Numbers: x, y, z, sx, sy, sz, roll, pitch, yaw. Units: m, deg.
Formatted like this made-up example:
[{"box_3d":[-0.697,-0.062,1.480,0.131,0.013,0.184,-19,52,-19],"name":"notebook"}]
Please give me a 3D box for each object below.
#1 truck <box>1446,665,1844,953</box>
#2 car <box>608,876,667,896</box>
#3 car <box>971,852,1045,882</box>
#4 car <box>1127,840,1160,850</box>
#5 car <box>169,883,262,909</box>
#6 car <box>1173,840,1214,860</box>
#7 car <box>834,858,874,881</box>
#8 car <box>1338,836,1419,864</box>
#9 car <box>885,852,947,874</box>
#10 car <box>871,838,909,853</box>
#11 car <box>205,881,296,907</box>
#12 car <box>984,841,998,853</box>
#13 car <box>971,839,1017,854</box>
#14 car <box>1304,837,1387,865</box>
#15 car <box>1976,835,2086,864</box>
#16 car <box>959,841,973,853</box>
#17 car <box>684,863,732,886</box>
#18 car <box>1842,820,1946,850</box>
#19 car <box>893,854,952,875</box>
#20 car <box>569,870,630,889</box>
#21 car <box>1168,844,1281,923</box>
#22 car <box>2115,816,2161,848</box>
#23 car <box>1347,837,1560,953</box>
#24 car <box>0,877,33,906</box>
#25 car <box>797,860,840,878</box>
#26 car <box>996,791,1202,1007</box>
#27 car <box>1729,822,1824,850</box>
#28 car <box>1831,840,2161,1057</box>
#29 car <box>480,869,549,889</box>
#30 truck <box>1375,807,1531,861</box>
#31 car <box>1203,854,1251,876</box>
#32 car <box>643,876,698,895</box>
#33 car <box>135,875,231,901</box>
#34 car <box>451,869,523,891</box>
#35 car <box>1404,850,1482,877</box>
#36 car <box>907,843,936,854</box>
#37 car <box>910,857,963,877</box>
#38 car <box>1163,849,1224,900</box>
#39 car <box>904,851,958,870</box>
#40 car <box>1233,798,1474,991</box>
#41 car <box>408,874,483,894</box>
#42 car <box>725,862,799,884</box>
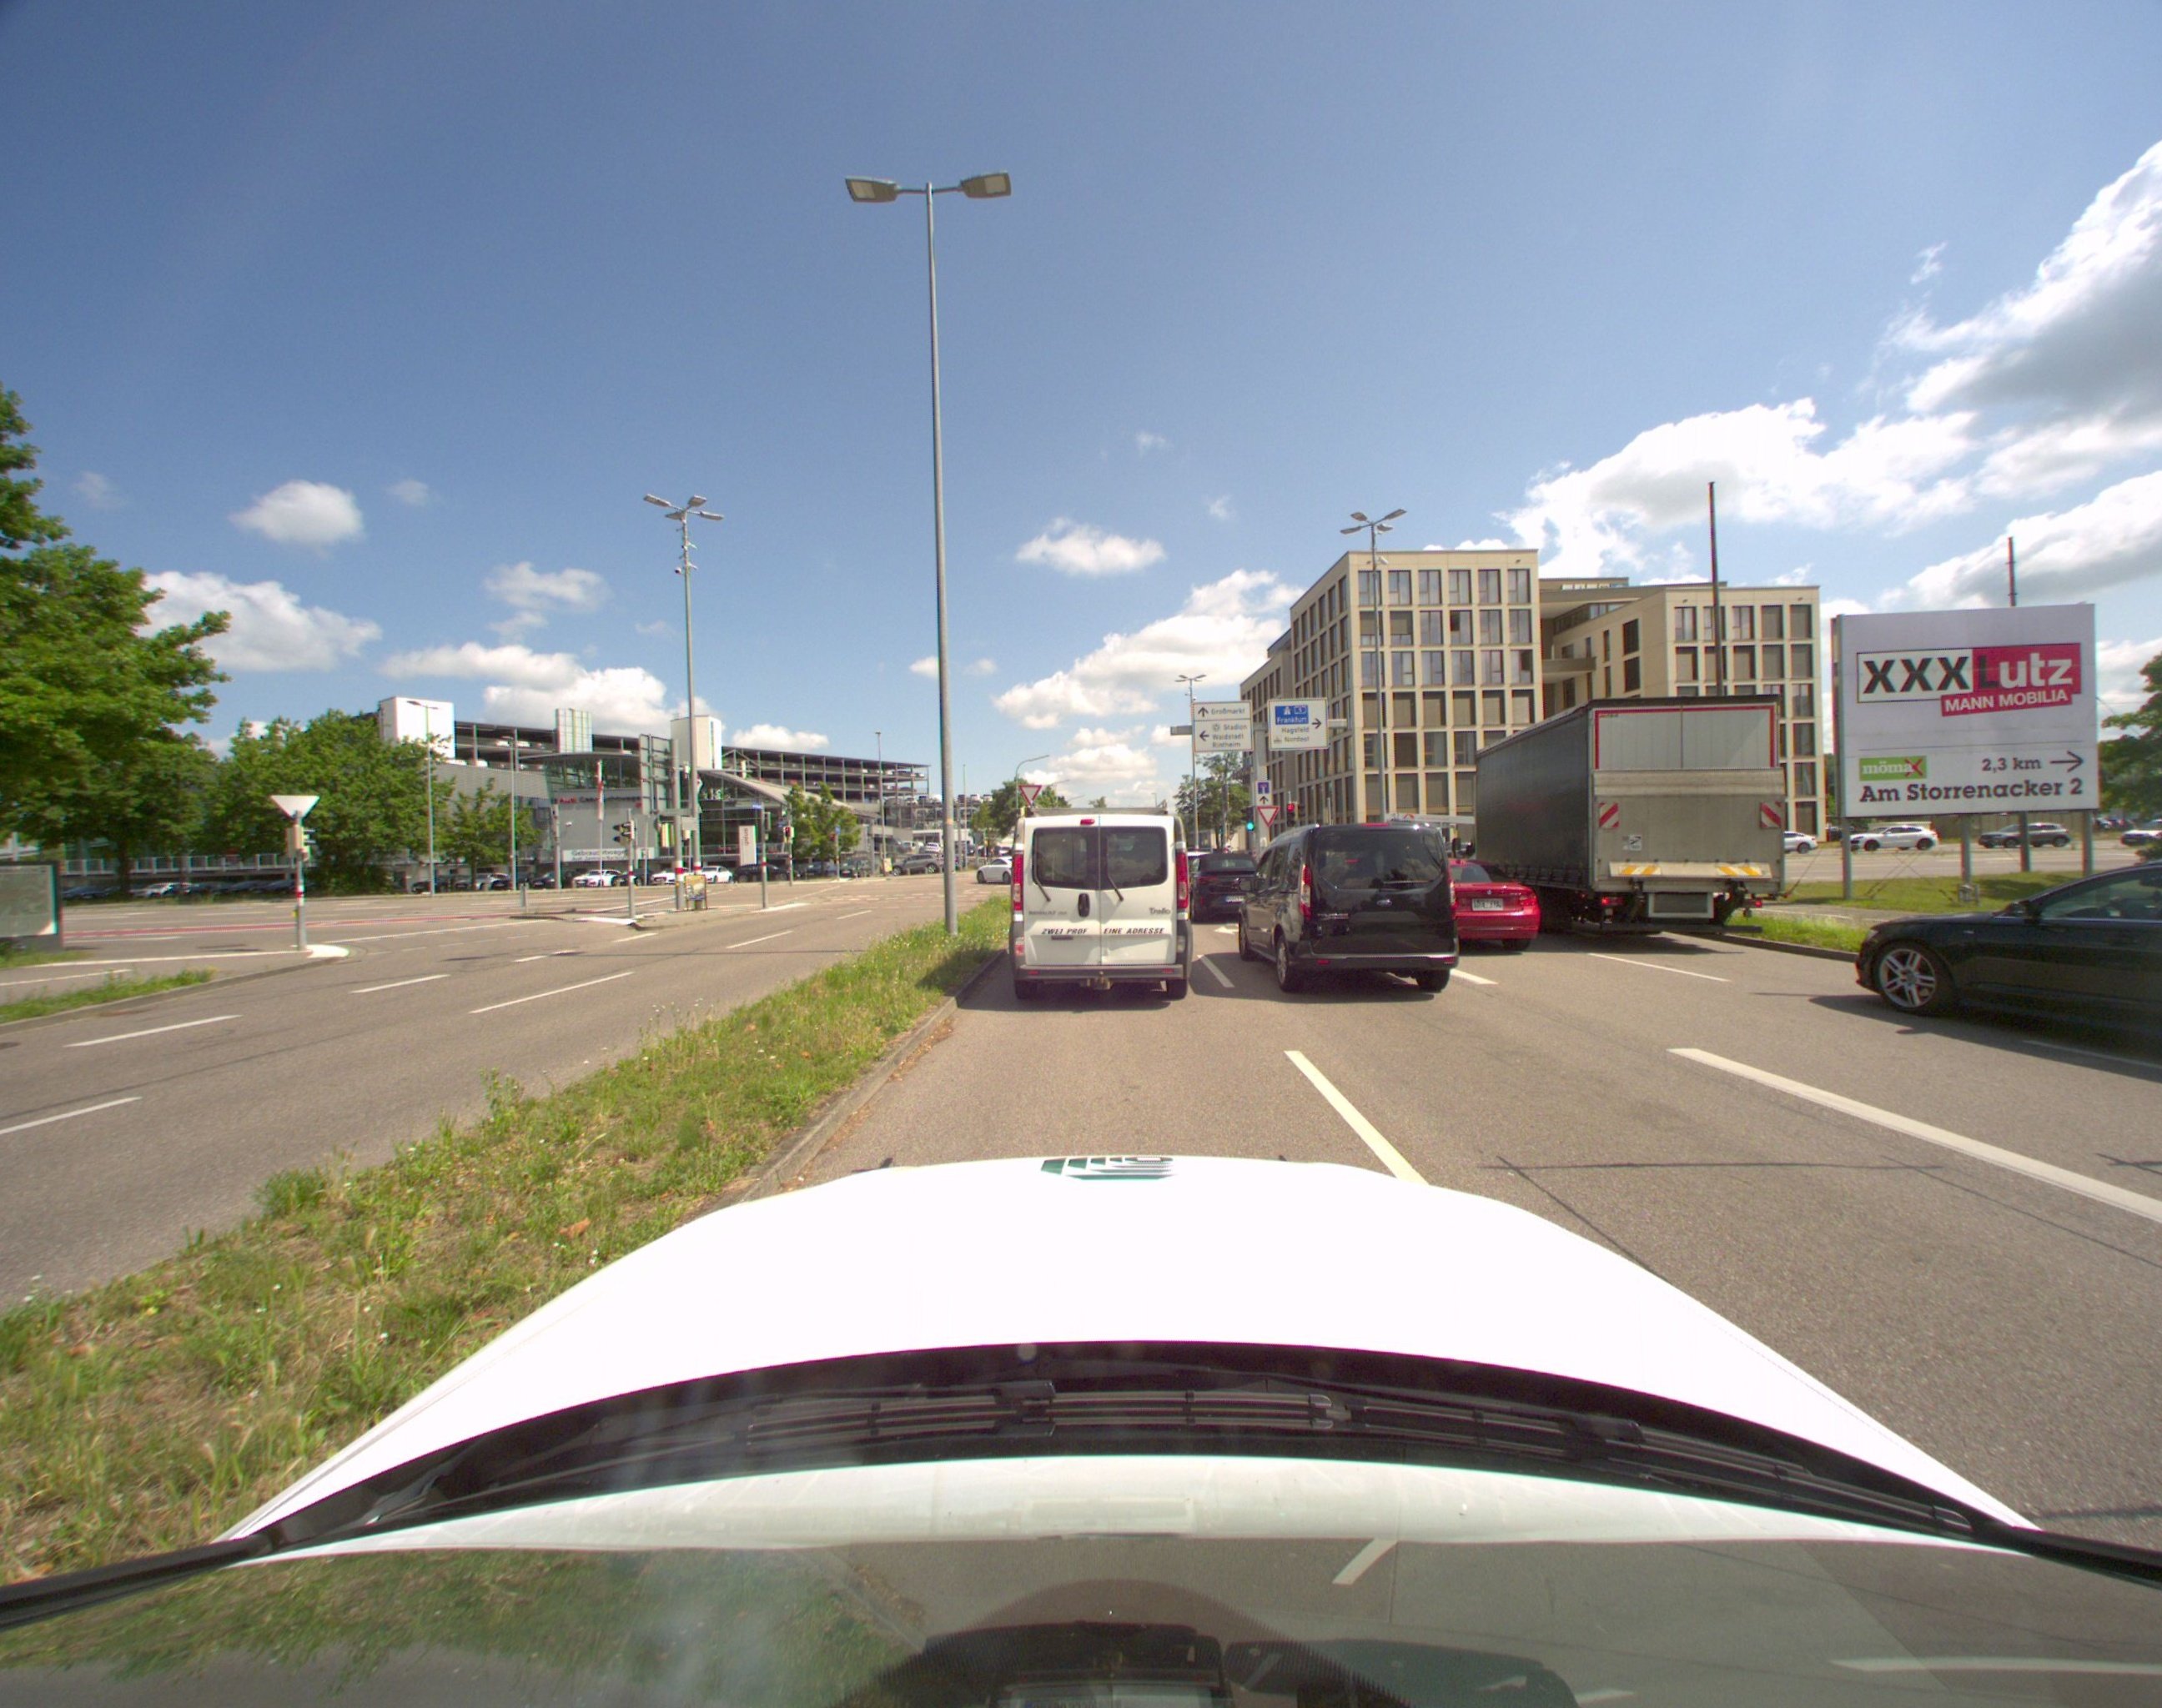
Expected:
[{"box_3d":[10.012,-0.579,16.149,3.191,4.027,9.100,-1,-1,12],"name":"truck"},{"box_3d":[-32.132,2.328,59.187,1.896,1.297,4.585,0,-1,-3],"name":"car"},{"box_3d":[-3.731,0.661,41.117,1.870,1.442,3.954,0,-1,-39],"name":"car"},{"box_3d":[12.435,-1.827,162.693,6.321,2.014,2.572,0,-1,-1],"name":"car"},{"box_3d":[-61.796,2.964,58.272,1.896,1.678,4.585,0,-1,-3],"name":"car"},{"box_3d":[11.834,-0.437,85.767,3.982,2.014,1.995,0,-1,-7],"name":"car"},{"box_3d":[-16.788,1.136,60.439,1.896,1.678,4.585,0,-1,-3],"name":"car"},{"box_3d":[17.736,-0.224,48.588,4.192,1.627,1.824,0,-1,-6],"name":"car"},{"box_3d":[-13.104,0.728,64.955,4.562,1.678,1.906,0,-1,-2],"name":"car"},{"box_3d":[-24.464,-1.057,104.251,4.432,1.801,1.762,0,-1,-4],"name":"car"},{"box_3d":[-59.801,2.864,58.762,1.896,1.678,4.585,0,-1,-3],"name":"car"},{"box_3d":[-12.041,-0.958,108.932,1.557,1.552,3.598,-1,0,-3],"name":"car"},{"box_3d":[-12.422,-1.075,116.355,6.373,2.102,1.763,0,-1,-4],"name":"car"},{"box_3d":[17.892,-0.203,55.159,4.969,1.838,1.996,0,-1,-6],"name":"car"},{"box_3d":[61.574,-0.280,52.859,4.401,1.838,1.834,-1,-1,12],"name":"car"},{"box_3d":[-15.389,-0.900,109.455,1.557,1.552,3.598,0,-1,-3],"name":"car"},{"box_3d":[-27.235,1.527,59.560,1.786,1.464,3.995,-2,-3,-3],"name":"car"},{"box_3d":[54.090,-1.234,54.263,4.667,1.838,1.834,-1,-1,12],"name":"car"},{"box_3d":[-13.070,0.860,67.336,4.562,1.678,1.906,0,-1,-2],"name":"car"},{"box_3d":[-34.988,1.812,59.307,1.896,1.297,4.585,0,-1,-3],"name":"car"},{"box_3d":[3.229,0.627,19.084,1.769,1.629,3.996,-1,0,-2],"name":"car"},{"box_3d":[65.100,-1.330,48.184,4.754,1.838,1.834,-1,-1,12],"name":"car"},{"box_3d":[6.025,0.620,13.780,1.851,1.655,4.222,-1,-1,3],"name":"car"},{"box_3d":[-77.829,2.701,57.457,1.896,2.049,4.585,0,-1,-3],"name":"car"},{"box_3d":[-19.428,1.101,60.503,1.896,1.297,4.585,0,-1,-3],"name":"car"},{"box_3d":[0.248,0.441,10.192,1.965,2.060,4.566,-1,0,2],"name":"car"},{"box_3d":[47.299,-1.205,55.457,4.683,1.838,1.832,-1,-1,8],"name":"car"},{"box_3d":[8.239,0.631,5.713,1.767,1.478,4.682,-1,0,2],"name":"car"},{"box_3d":[-40.721,1.823,58.685,1.896,1.384,4.584,0,-2,-3],"name":"car"},{"box_3d":[25.347,-1.316,55.675,9.737,3.555,2.670,0,-1,-6],"name":"truck"},{"box_3d":[13.658,1.031,76.377,3.982,2.014,1.995,0,-1,-7],"name":"car"},{"box_3d":[-29.928,2.279,59.555,1.896,1.297,4.585,0,-1,-3],"name":"car"},{"box_3d":[-63.998,2.406,58.174,1.896,1.678,4.585,0,-1,-3],"name":"car"},{"box_3d":[-42.846,1.903,58.869,1.896,1.405,4.584,0,-3,-3],"name":"car"},{"box_3d":[22.990,0.616,51.816,4.184,1.627,1.828,0,-1,0],"name":"car"},{"box_3d":[-22.857,-0.745,116.611,3.987,1.552,1.759,0,-1,-10],"name":"car"},{"box_3d":[-13.424,1.181,75.941,4.562,1.678,1.906,-2,1,-2],"name":"car"},{"box_3d":[3.861,0.657,28.458,1.766,1.629,4.003,-1,0,3],"name":"car"},{"box_3d":[-13.531,0.622,73.603,4.562,1.678,1.906,0,-1,-2],"name":"car"},{"box_3d":[3.093,0.410,10.146,1.816,1.905,4.003,-1,0,3],"name":"car"},{"box_3d":[-45.646,2.137,58.635,1.896,1.405,4.584,0,-2,-3],"name":"car"},{"box_3d":[-23.678,1.420,60.502,4.731,1.464,1.793,-2,-3,-4],"name":"car"}]
